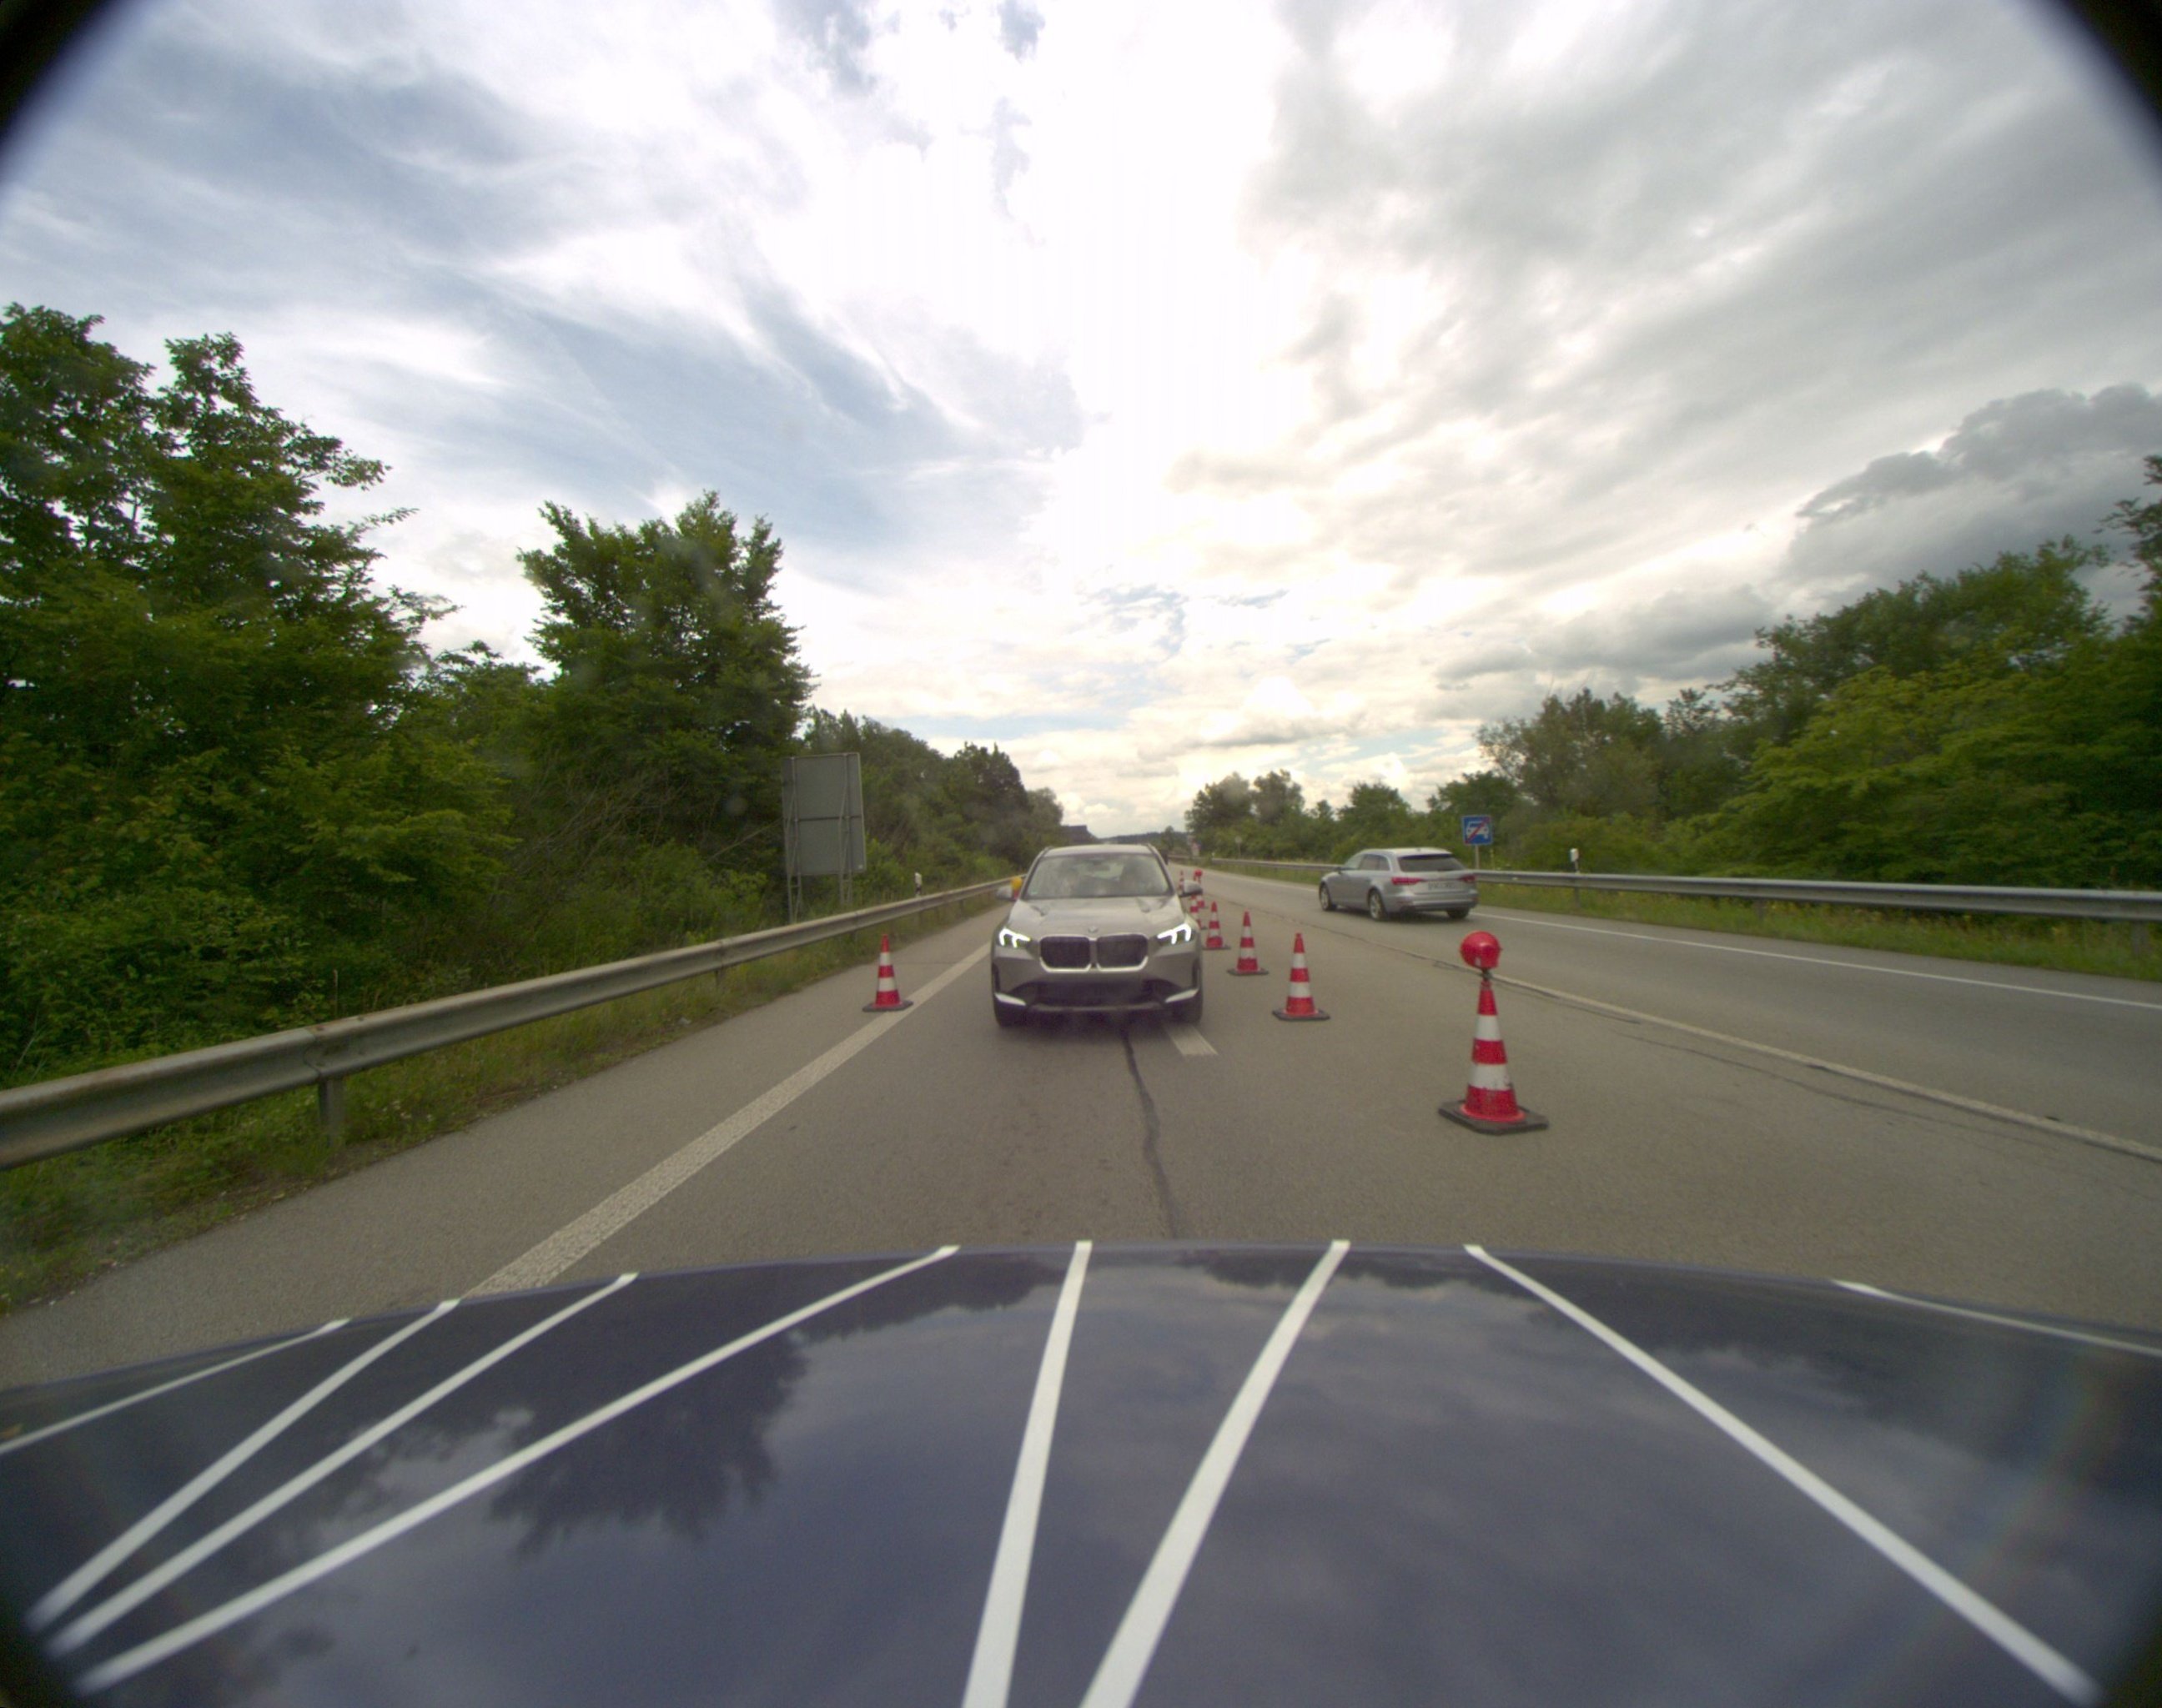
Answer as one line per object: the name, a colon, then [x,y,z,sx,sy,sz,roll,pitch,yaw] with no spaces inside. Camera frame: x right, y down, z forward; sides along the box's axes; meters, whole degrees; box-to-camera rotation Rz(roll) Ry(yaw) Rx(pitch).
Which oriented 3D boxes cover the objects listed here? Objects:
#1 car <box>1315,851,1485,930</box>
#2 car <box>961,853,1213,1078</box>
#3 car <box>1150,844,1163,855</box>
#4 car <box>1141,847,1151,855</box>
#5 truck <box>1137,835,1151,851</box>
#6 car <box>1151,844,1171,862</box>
car: [6.506,0.663,16.071,1.683,1.393,4.373,-2,0,-1]
car: [0.164,0.832,7.830,1.817,1.598,4.434,-2,0,3]
car: [13.195,-0.739,132.744,1.929,1.820,4.533,-2,0,3]
car: [13.834,-0.608,161.834,1.929,1.597,4.533,-2,0,3]
truck: [15.815,-2.707,191.764,3.113,3.682,9.544,-2,0,3]
car: [9.341,-0.143,89.101,2.034,1.976,5.316,-2,0,3]
